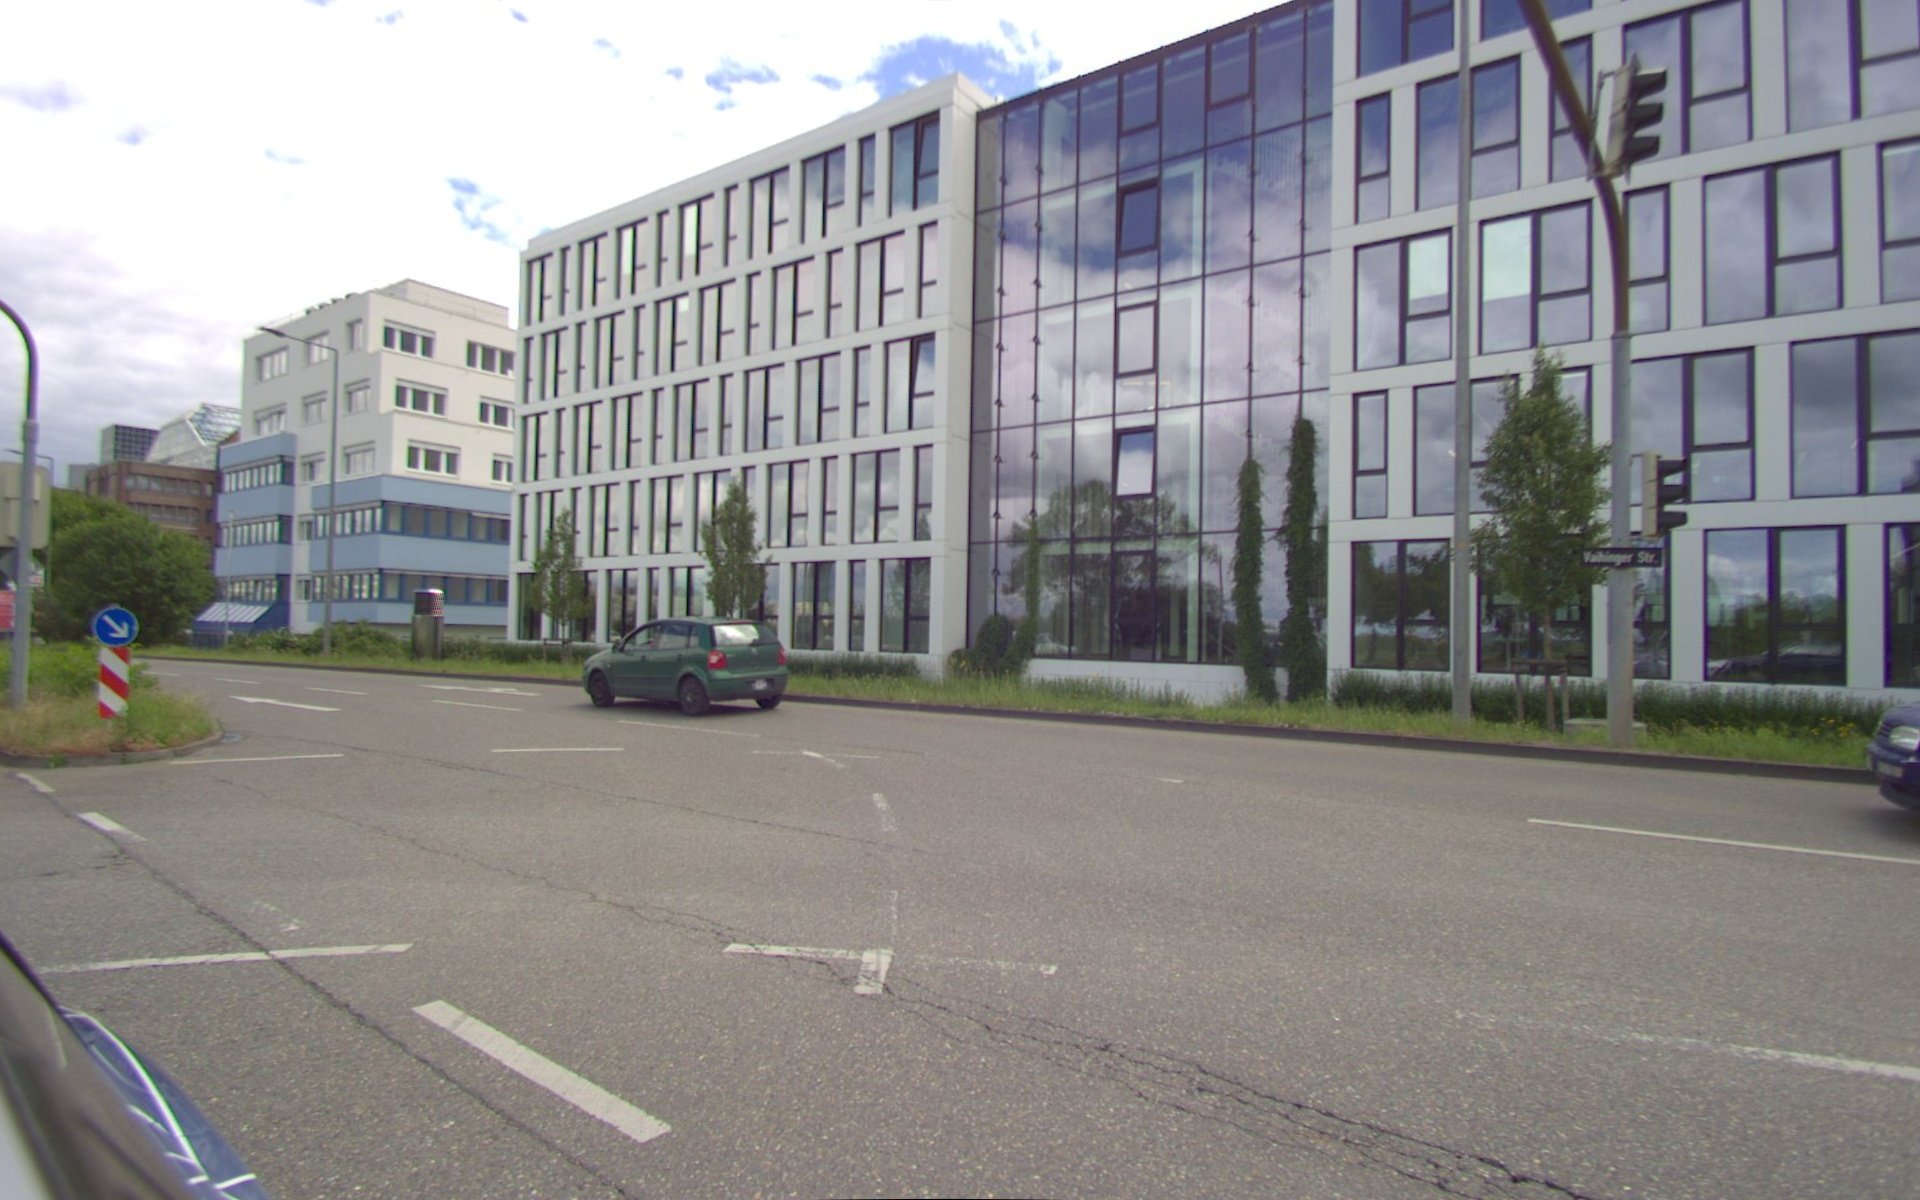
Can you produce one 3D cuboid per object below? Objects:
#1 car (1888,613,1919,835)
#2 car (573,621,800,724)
[{"bbox_3d":[8.016,0.765,5.741,3.890,1.430,1.539,-2,-1,38],"label":"car"},{"bbox_3d":[-4.422,1.072,16.139,3.748,1.443,1.590,-1,-1,39],"label":"car"}]
